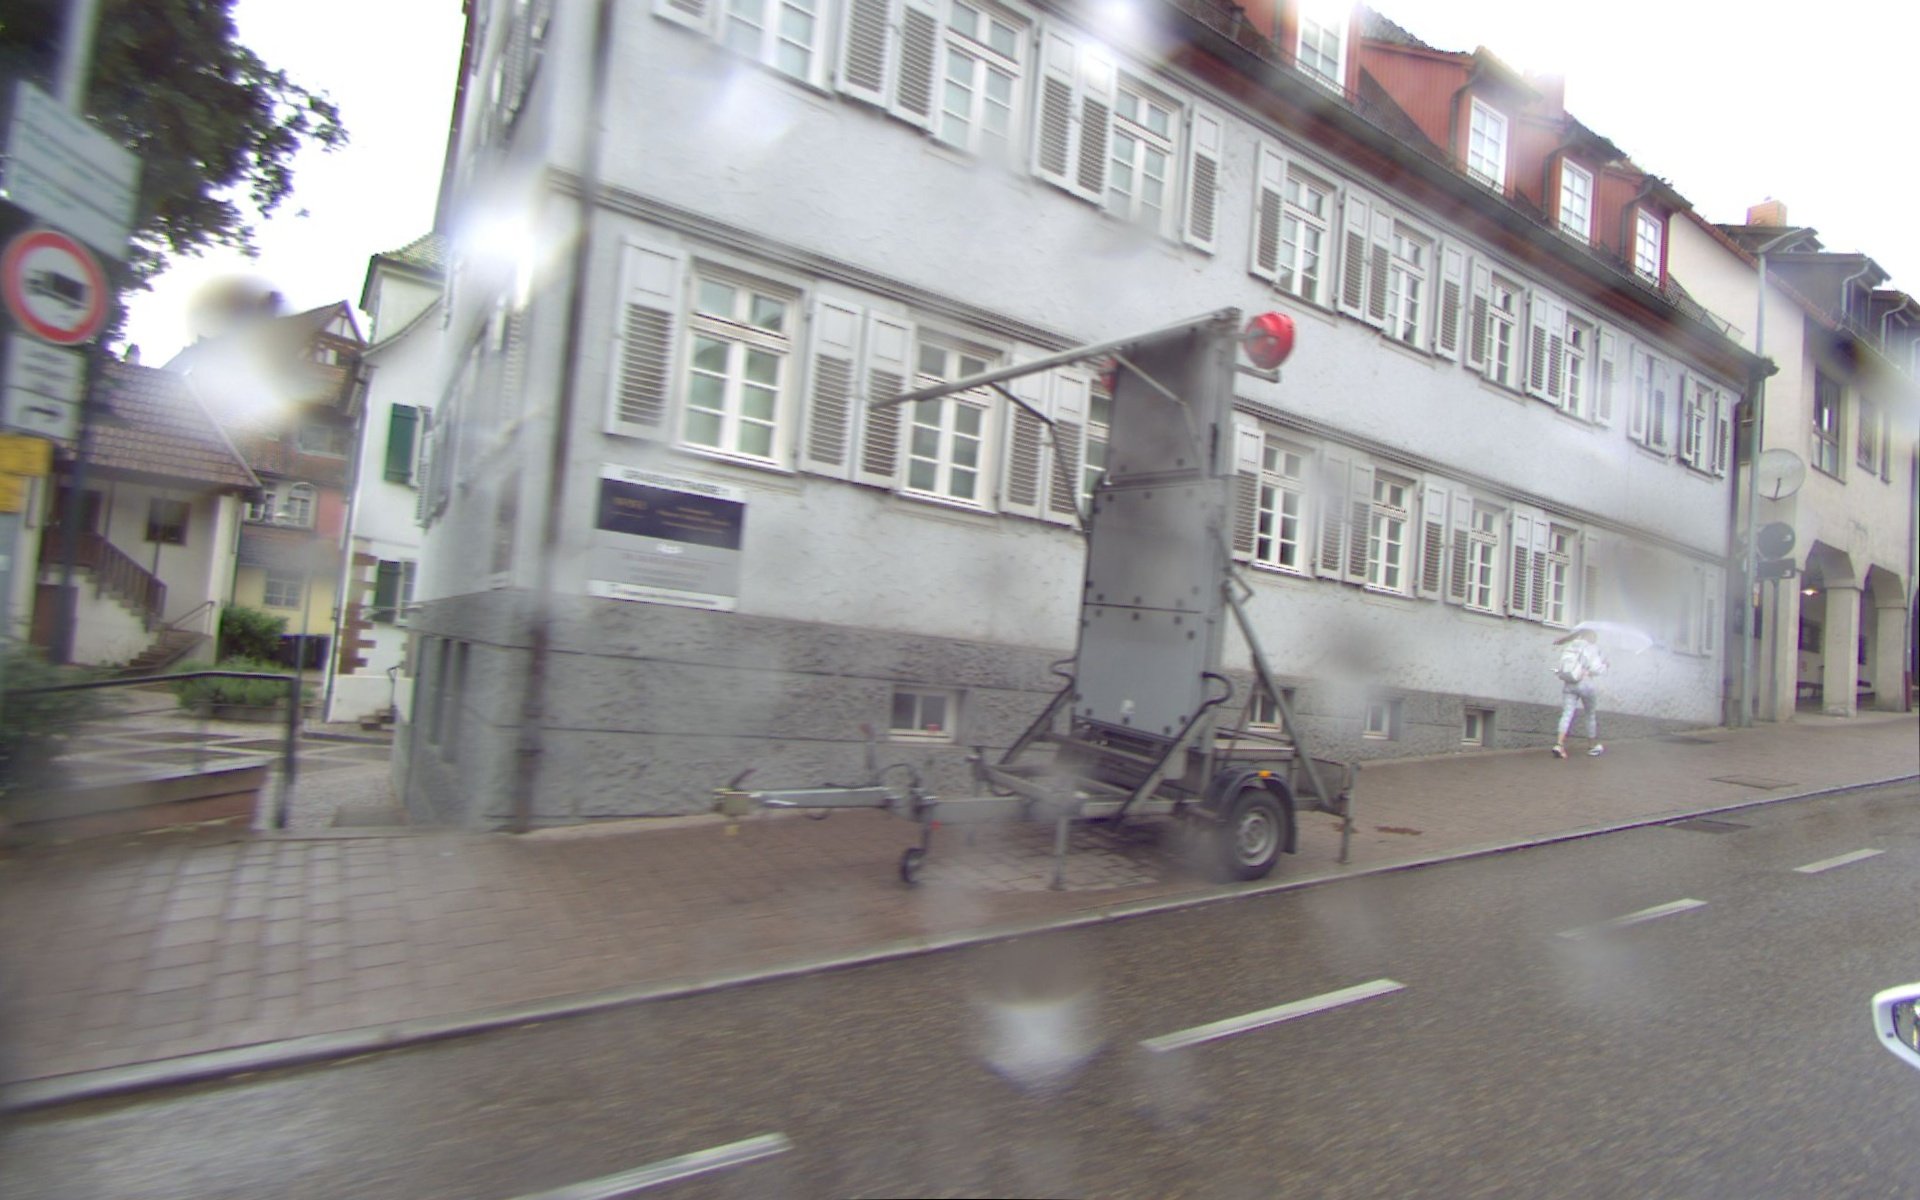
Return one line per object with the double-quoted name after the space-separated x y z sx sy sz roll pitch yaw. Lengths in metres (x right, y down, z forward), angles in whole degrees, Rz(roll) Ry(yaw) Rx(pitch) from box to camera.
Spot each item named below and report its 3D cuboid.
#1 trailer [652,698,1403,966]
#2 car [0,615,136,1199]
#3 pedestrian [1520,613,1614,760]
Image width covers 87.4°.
0.530 1.207 6.387 4.425 0.917 1.984 2 0 -31 "trailer"
-3.358 0.732 1.057 3.541 1.491 1.602 2 -3 -28 "car"
7.661 1.072 12.683 0.726 1.763 0.685 2 1 -30 "pedestrian"
